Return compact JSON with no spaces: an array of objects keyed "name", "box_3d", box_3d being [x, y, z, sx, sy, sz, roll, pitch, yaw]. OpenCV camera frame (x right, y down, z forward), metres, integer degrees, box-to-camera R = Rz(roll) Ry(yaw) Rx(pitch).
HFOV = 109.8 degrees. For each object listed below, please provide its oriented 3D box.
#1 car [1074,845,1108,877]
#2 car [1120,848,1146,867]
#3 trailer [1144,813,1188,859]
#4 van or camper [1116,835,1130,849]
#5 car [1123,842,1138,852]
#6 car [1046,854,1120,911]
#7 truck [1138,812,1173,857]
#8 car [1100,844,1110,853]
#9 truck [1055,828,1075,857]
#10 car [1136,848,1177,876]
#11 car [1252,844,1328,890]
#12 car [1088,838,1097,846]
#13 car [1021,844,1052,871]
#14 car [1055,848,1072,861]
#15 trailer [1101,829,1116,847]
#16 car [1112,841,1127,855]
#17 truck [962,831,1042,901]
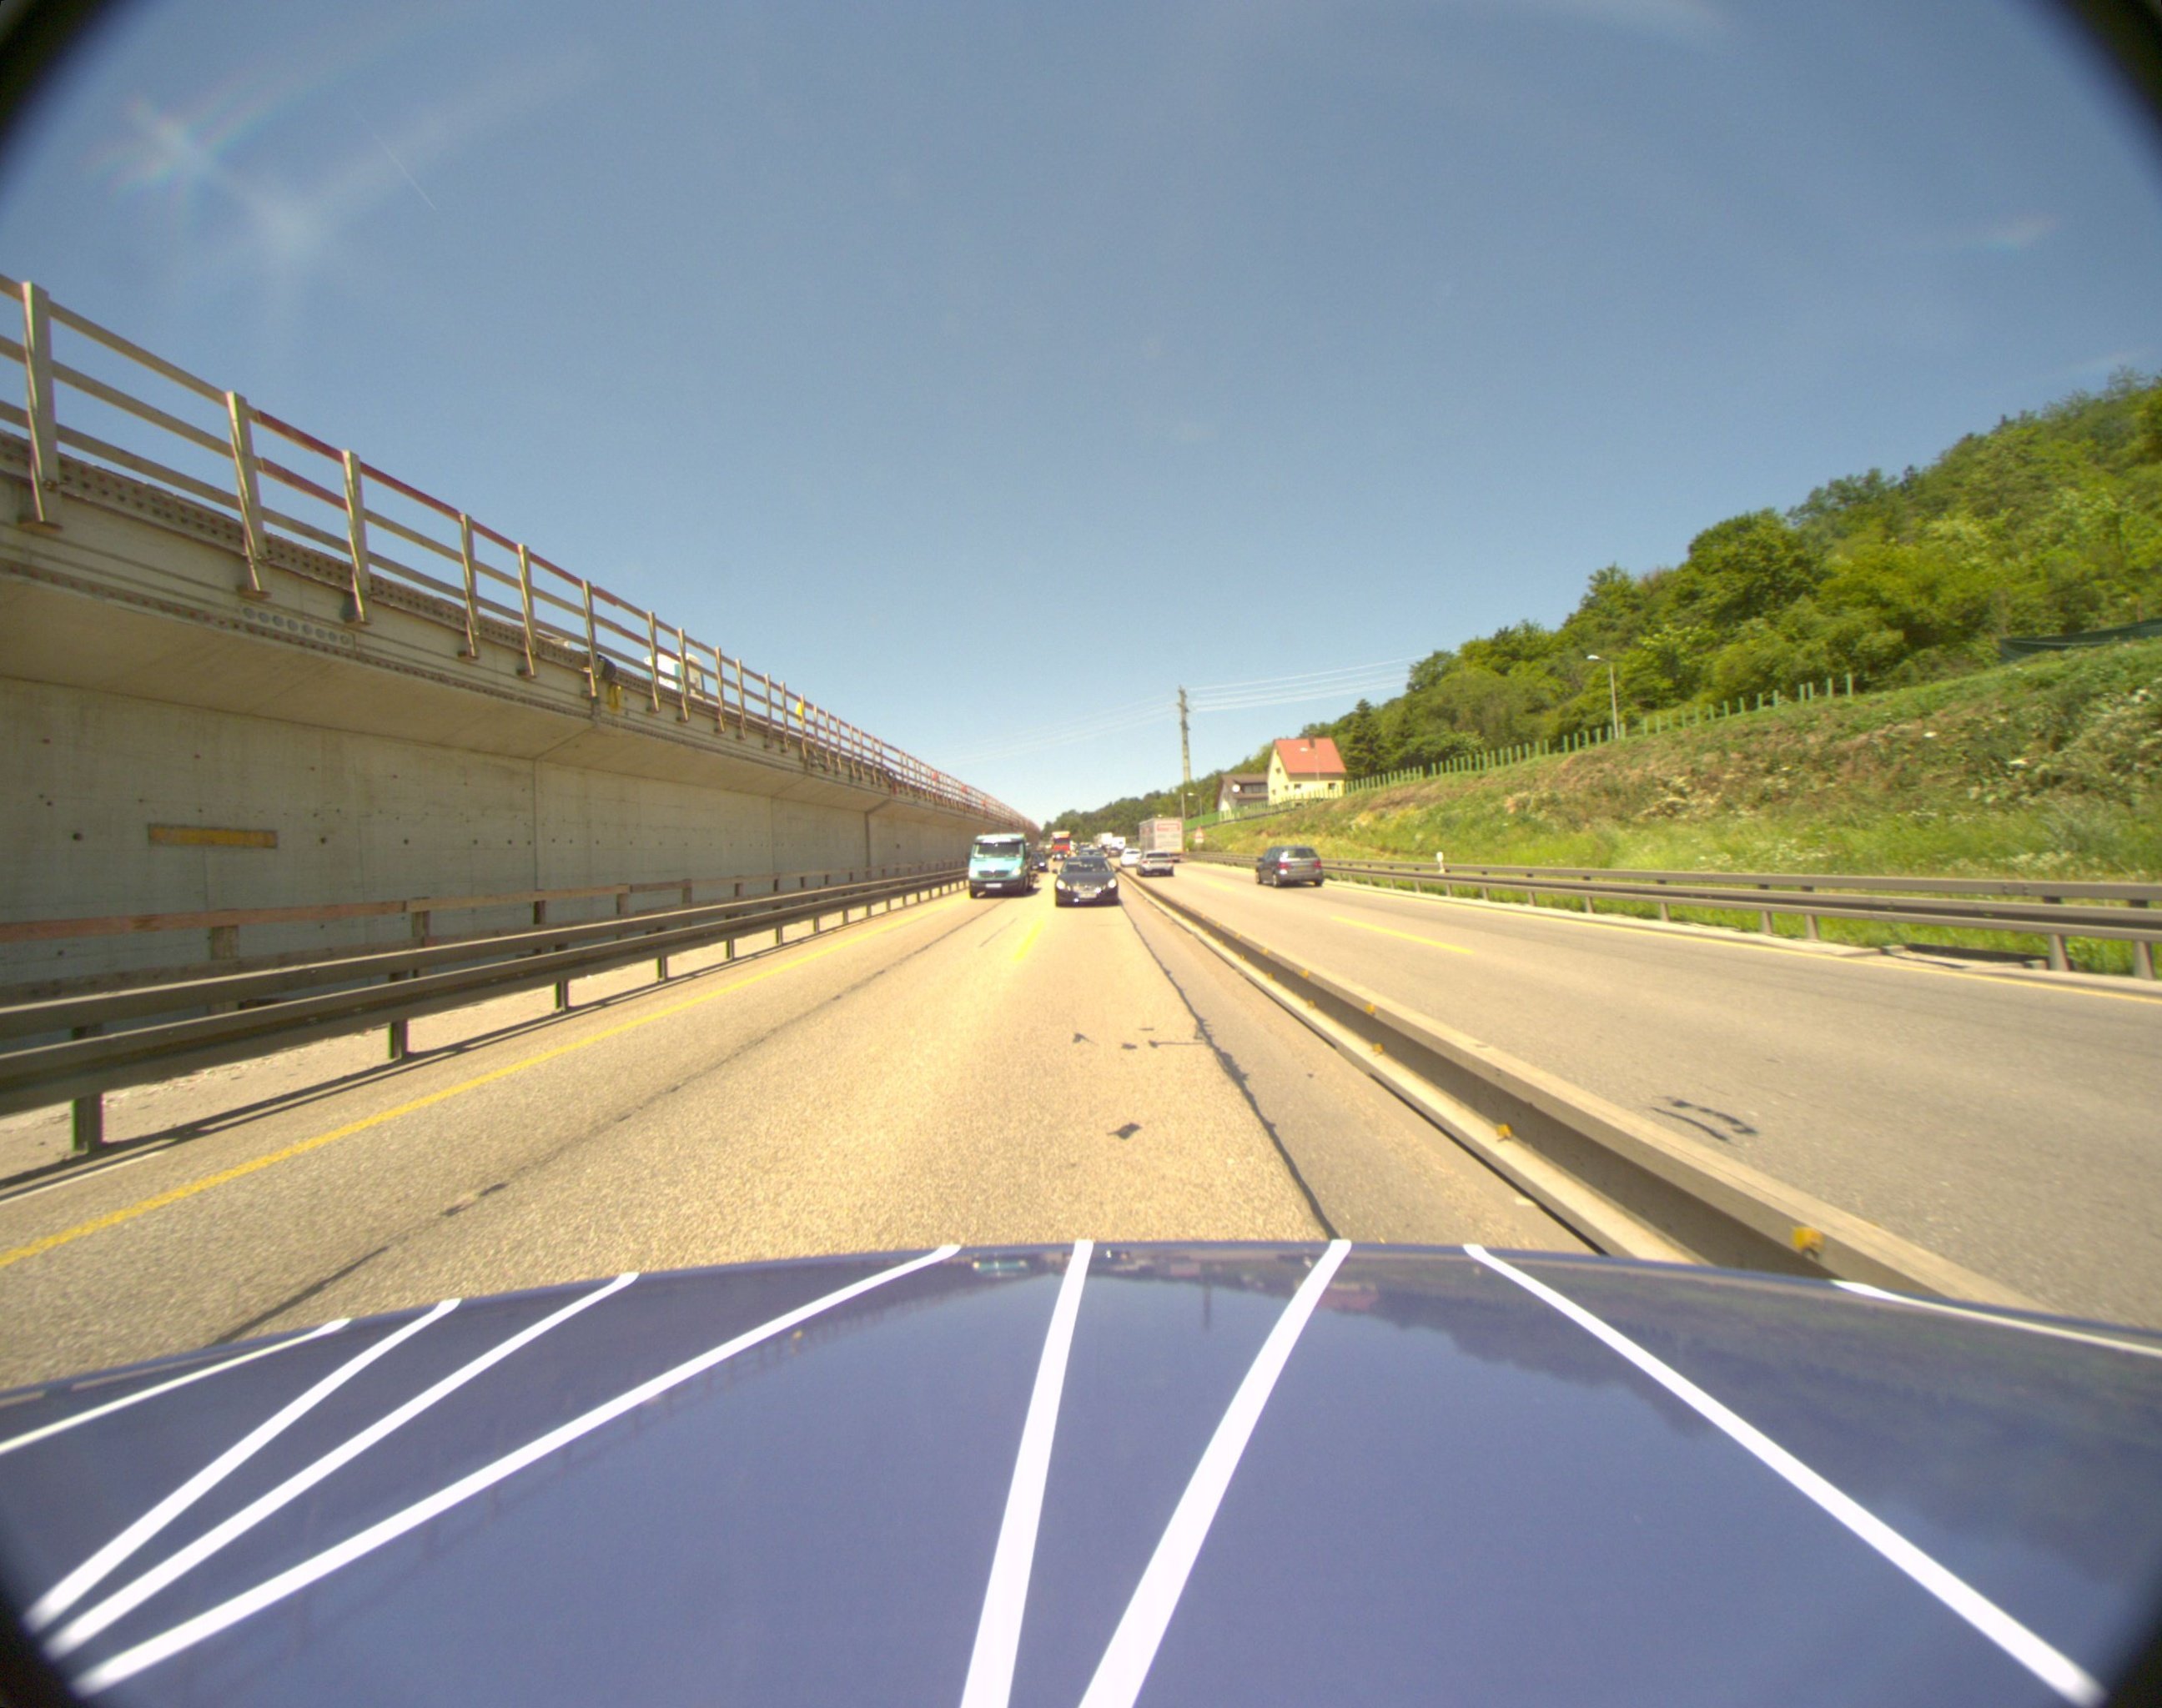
[{"name":"car","box_3d":[0.673,0.400,46.941,1.884,1.805,4.250,-2,1,2]},{"name":"car","box_3d":[4.168,0.267,61.675,1.807,1.455,3.999,-2,1,0]},{"name":"trailer","box_3d":[7.856,-1.636,71.030,2.937,3.966,8.704,-2,1,-1]},{"name":"van or camper","box_3d":[8.174,-2.373,149.348,2.356,2.619,6.901,-2,1,1]},{"name":"car","box_3d":[7.897,-1.193,121.666,1.998,1.499,5.299,-2,1,1]},{"name":"car","box_3d":[0.109,0.774,23.176,1.998,1.441,4.601,-2,1,1]},{"name":"truck","box_3d":[7.793,-1.973,80.529,2.627,4.371,10.383,-2,1,1]},{"name":"car","box_3d":[4.448,-1.042,140.592,1.875,1.674,4.000,-1,1,1]},{"name":"truck","box_3d":[-2.433,-1.869,117.075,2.750,4.222,9.093,-2,1,0]},{"name":"car","box_3d":[4.149,0.410,42.340,1.834,1.425,4.629,-1,1,0]},{"name":"car","box_3d":[8.084,0.452,29.813,1.777,1.573,4.285,-3,1,1]},{"name":"car","box_3d":[2.862,-3.036,192.953,1.999,2.002,4.164,-2,1,-2]},{"name":"car","box_3d":[-3.175,0.215,54.866,1.885,1.805,4.249,-2,1,0]},{"name":"car","box_3d":[-2.162,0.061,95.528,1.883,1.532,4.280,-2,1,0]},{"name":"trailer","box_3d":[6.855,-4.030,189.686,3.111,4.417,14.625,-2,1,0]},{"name":"car","box_3d":[5.366,-0.797,106.878,1.854,1.879,4.501,-2,1,1]},{"name":"truck","box_3d":[-2.914,0.338,29.809,2.139,2.344,7.431,-2,1,1]}]
